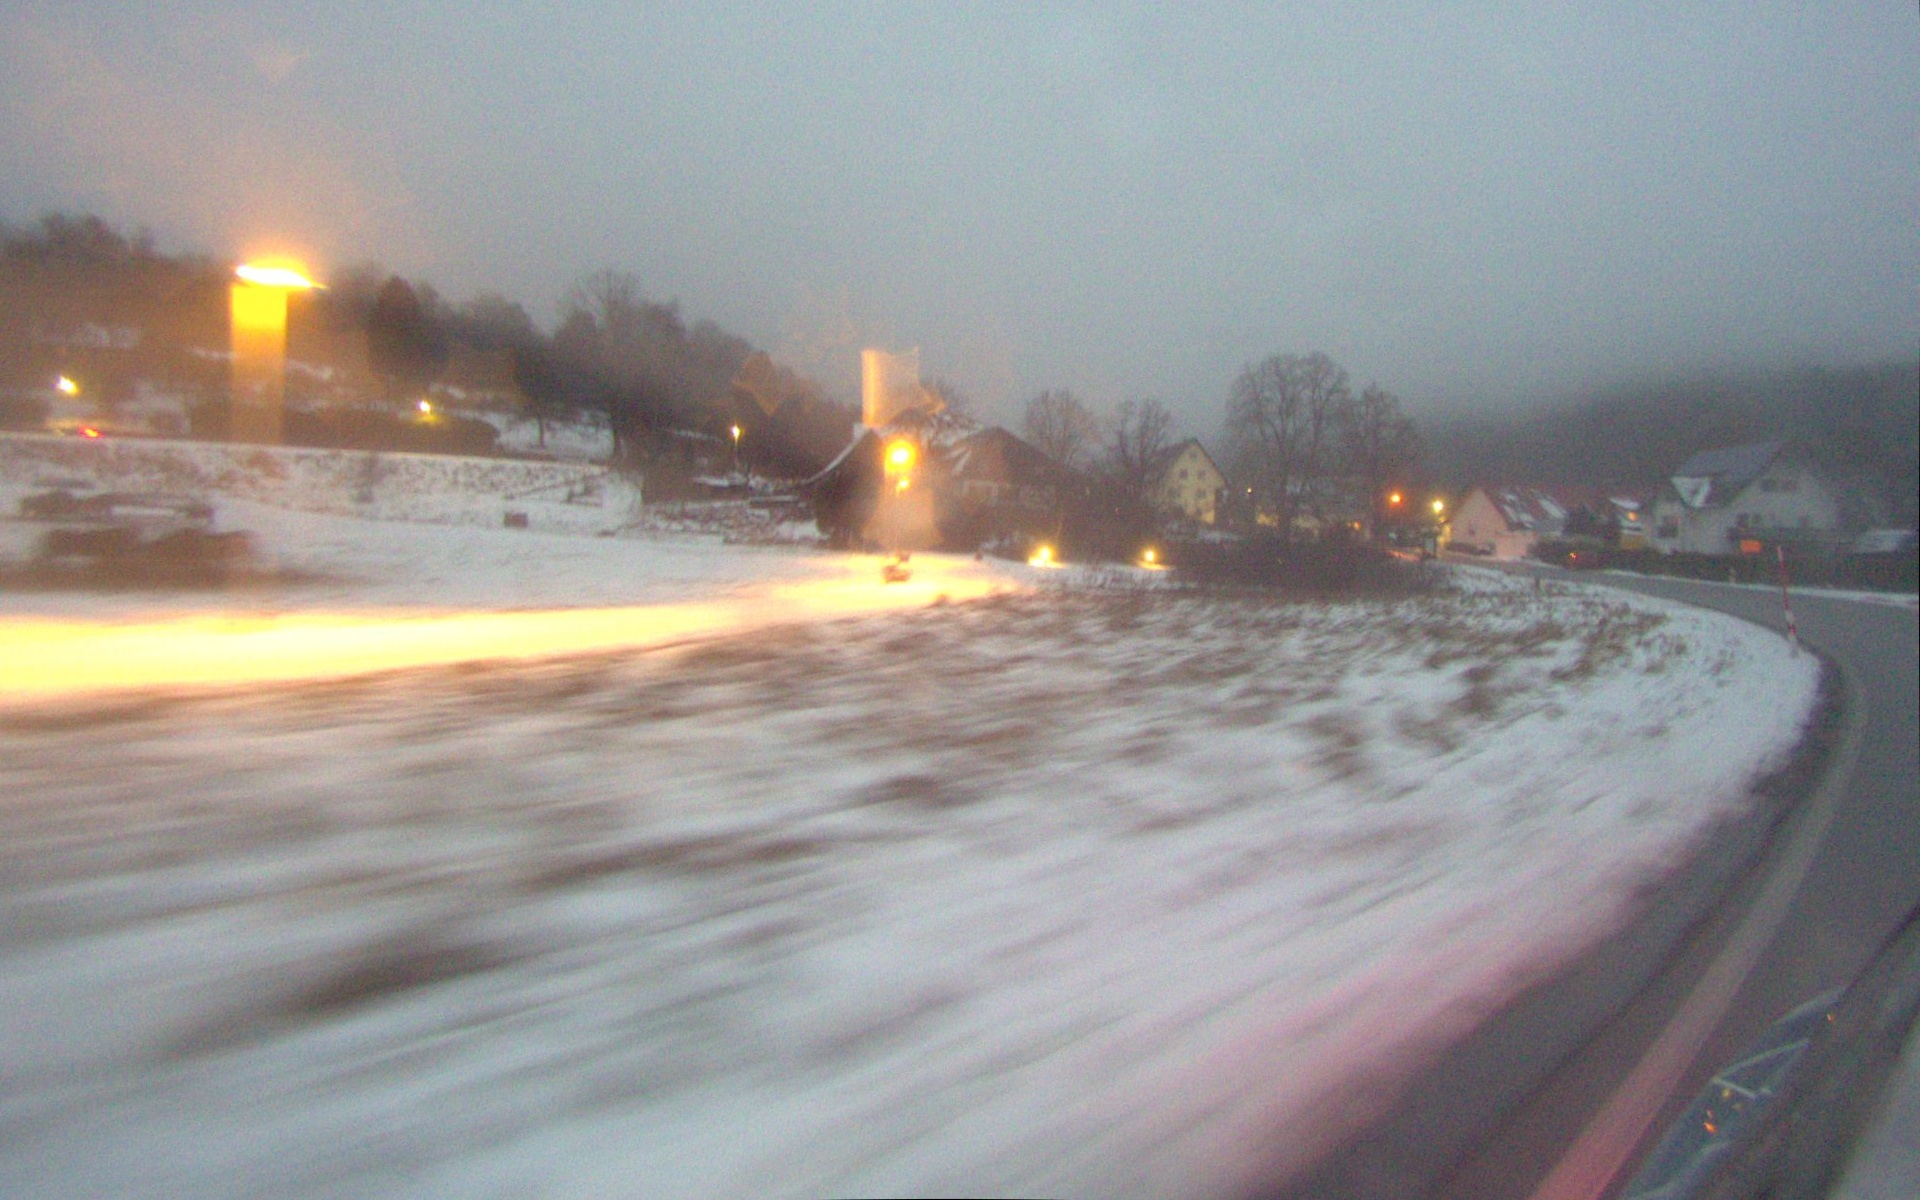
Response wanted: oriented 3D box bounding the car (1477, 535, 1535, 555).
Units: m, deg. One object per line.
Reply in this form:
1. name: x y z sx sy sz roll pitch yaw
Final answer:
1. car: 62.511 -6.317 115.995 5.184 2.035 2.216 2 8 5

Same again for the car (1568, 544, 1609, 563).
1. car: 54.011 -4.029 87.037 1.695 1.552 3.511 2 4 8

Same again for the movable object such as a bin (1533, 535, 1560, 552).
1. movable object such as a bin: 60.788 -5.894 104.961 2.350 1.668 1.428 0 4 29
